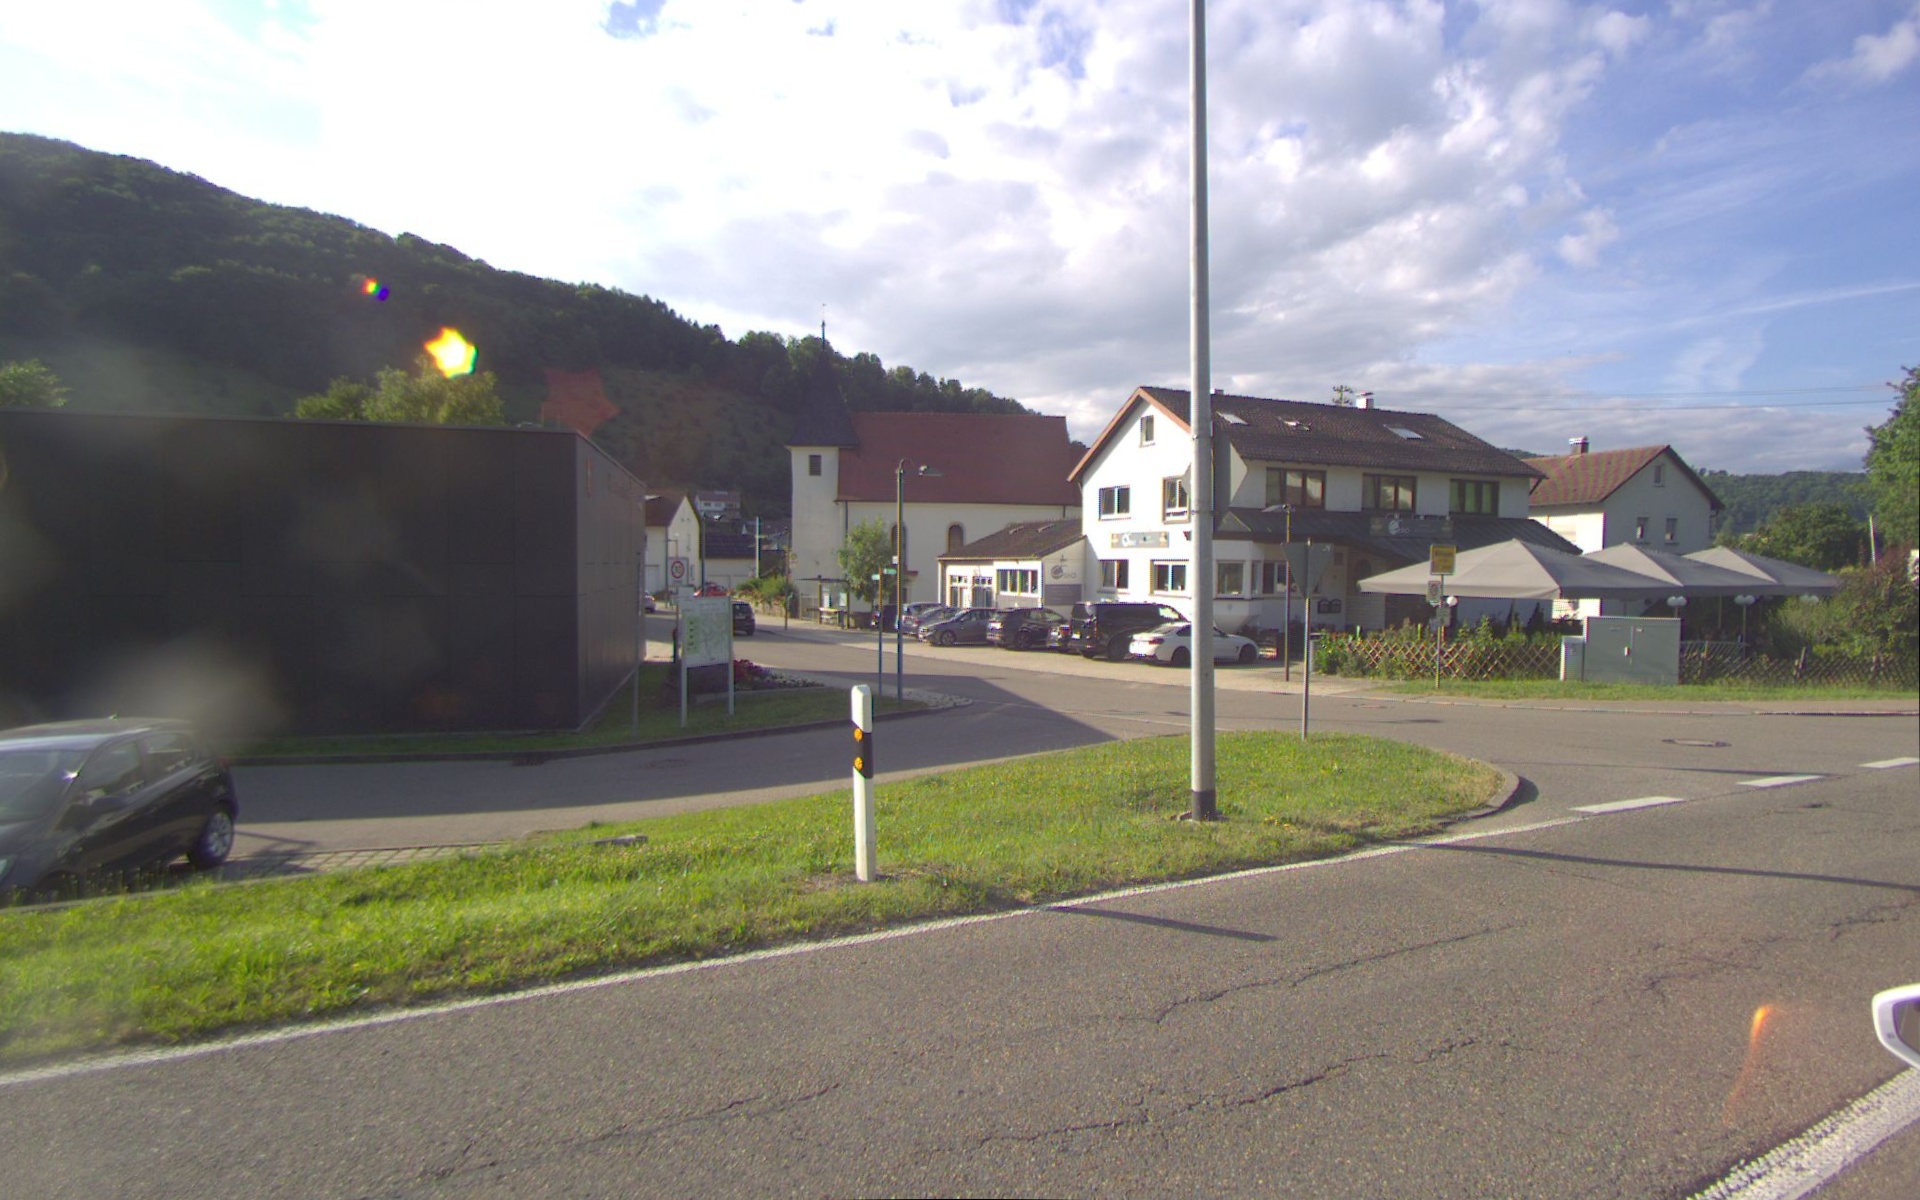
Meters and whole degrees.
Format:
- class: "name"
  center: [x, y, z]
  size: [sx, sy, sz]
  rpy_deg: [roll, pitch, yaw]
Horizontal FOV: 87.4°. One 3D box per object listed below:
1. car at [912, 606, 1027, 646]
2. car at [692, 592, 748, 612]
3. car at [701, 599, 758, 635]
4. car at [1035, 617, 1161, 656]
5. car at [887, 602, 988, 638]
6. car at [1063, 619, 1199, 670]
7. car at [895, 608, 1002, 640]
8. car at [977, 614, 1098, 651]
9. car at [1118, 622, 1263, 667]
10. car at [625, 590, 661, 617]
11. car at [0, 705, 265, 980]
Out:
- class: "car"
  center: [0.412, 1.104, 42.715]
  size: [4.518, 1.618, 1.986]
  rpy_deg: [1, -1, -28]
- class: "car"
  center: [-19.380, 0.166, 81.153]
  size: [1.972, 1.528, 3.977]
  rpy_deg: [1, 0, 43]
- class: "car"
  center: [-11.315, 0.802, 49.124]
  size: [1.867, 1.706, 3.974]
  rpy_deg: [0, 0, -26]
- class: "car"
  center: [5.311, 1.380, 38.679]
  size: [4.518, 1.408, 1.986]
  rpy_deg: [1, -1, -28]
- class: "car"
  center: [-1.076, 0.984, 48.475]
  size: [4.518, 1.665, 1.986]
  rpy_deg: [1, -1, -28]
- class: "car"
  center: [6.057, 1.549, 35.528]
  size: [4.518, 1.707, 1.986]
  rpy_deg: [1, -1, -28]
- class: "car"
  center: [-0.530, 1.100, 45.877]
  size: [4.518, 1.431, 1.986]
  rpy_deg: [1, -1, -28]
- class: "car"
  center: [3.130, 1.281, 40.574]
  size: [4.518, 1.431, 1.986]
  rpy_deg: [1, -1, -28]
- class: "car"
  center: [7.681, 1.442, 33.369]
  size: [4.518, 1.408, 1.986]
  rpy_deg: [1, -1, -28]
- class: "car"
  center: [-21.045, 0.260, 66.628]
  size: [1.761, 1.706, 3.975]
  rpy_deg: [1, -1, -25]
- class: "car"
  center: [-7.742, 1.827, 8.330]
  size: [1.801, 1.555, 3.991]
  rpy_deg: [1, -1, -12]
